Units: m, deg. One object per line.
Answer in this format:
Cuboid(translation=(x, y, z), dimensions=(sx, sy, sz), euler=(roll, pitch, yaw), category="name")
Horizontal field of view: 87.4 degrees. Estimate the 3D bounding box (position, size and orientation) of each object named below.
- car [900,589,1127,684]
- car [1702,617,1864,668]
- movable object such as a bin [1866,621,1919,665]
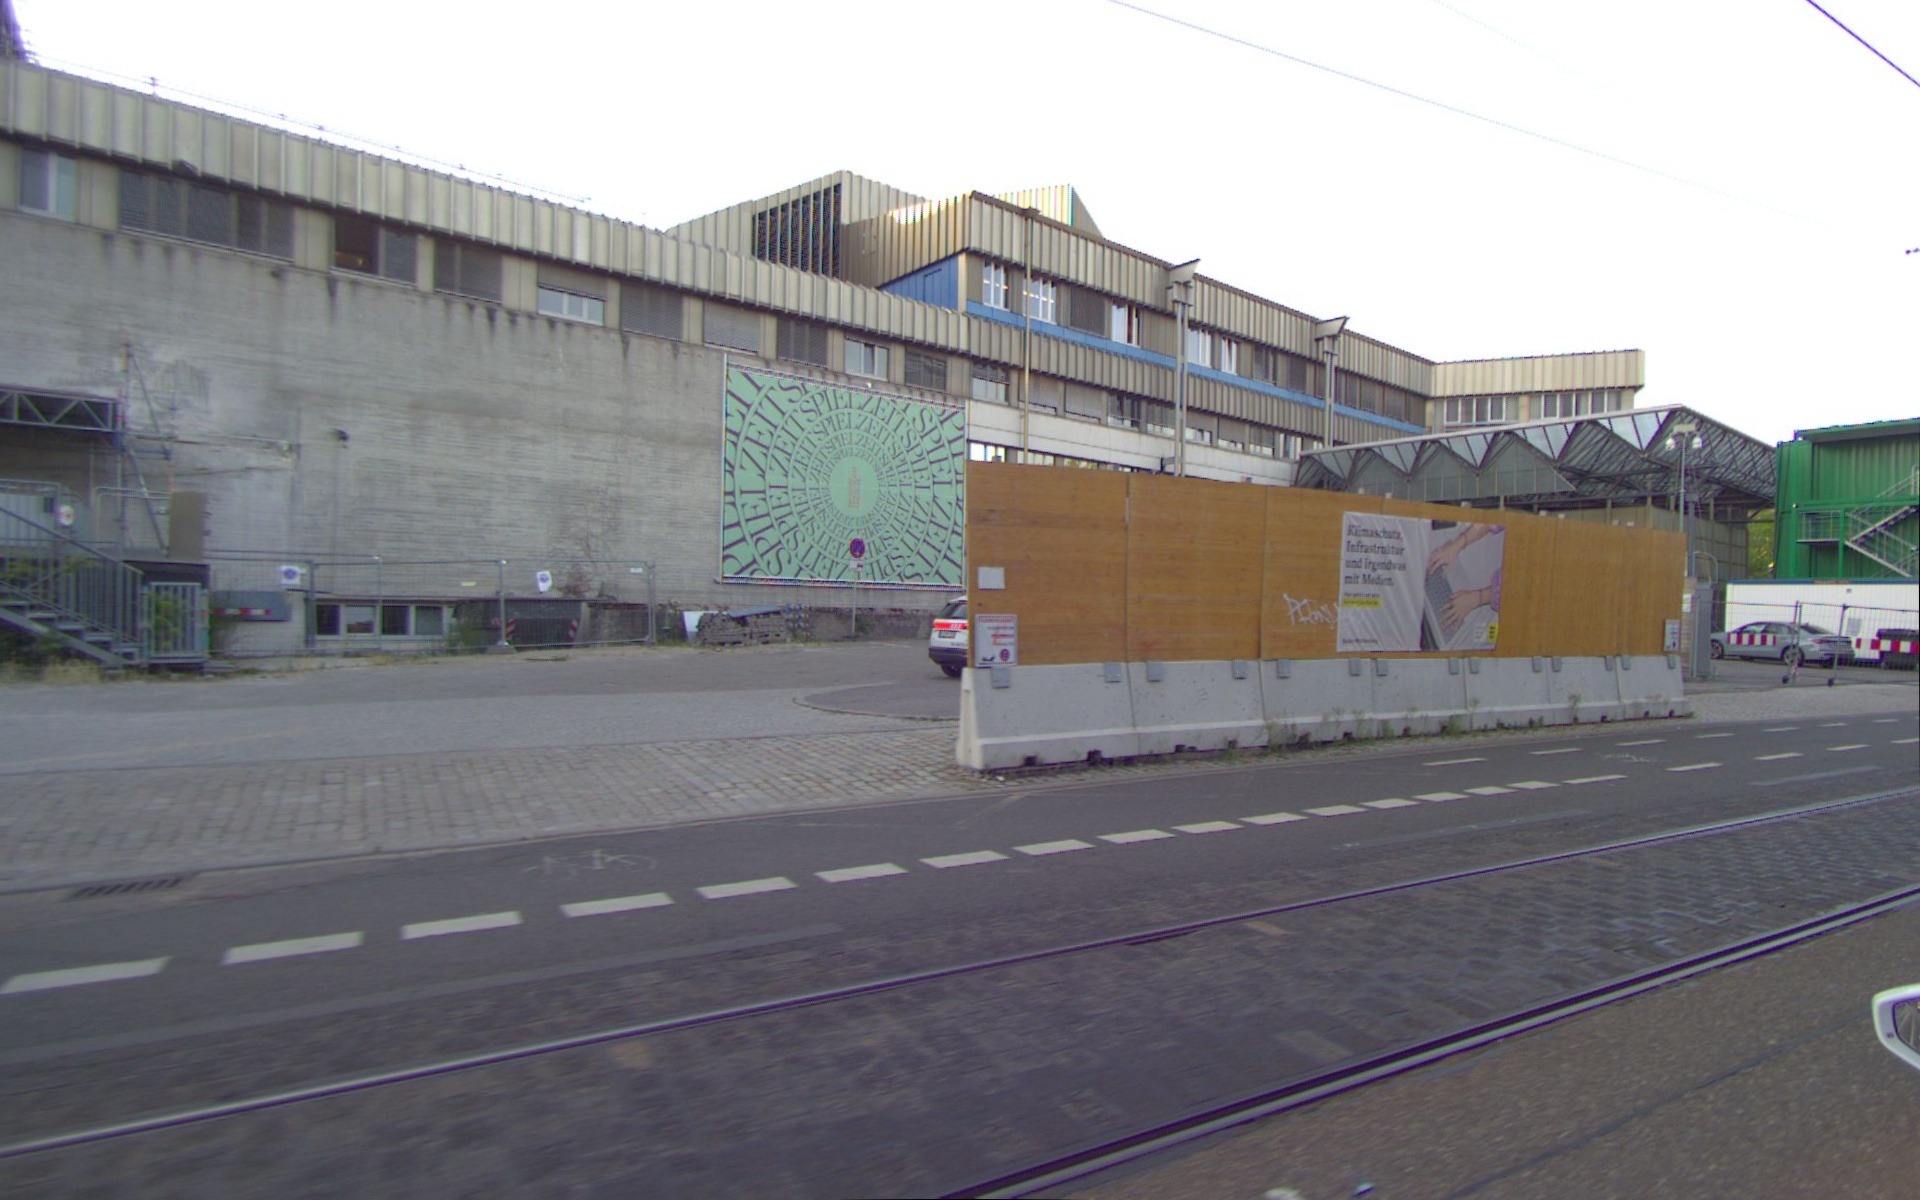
Cuboid(translation=(1.115, 0.679, 19.983), dimensions=(4.241, 1.686, 1.979), euler=(1, 0, -38), category="car")
Cuboid(translation=(27.914, 1.394, 34.227), dimensions=(1.707, 1.421, 3.995), euler=(1, 2, -15), category="car")
Cuboid(translation=(30.859, 1.414, 33.135), dimensions=(0.776, 1.388, 1.298), euler=(1, 0, -33), category="movable object such as a bin")
